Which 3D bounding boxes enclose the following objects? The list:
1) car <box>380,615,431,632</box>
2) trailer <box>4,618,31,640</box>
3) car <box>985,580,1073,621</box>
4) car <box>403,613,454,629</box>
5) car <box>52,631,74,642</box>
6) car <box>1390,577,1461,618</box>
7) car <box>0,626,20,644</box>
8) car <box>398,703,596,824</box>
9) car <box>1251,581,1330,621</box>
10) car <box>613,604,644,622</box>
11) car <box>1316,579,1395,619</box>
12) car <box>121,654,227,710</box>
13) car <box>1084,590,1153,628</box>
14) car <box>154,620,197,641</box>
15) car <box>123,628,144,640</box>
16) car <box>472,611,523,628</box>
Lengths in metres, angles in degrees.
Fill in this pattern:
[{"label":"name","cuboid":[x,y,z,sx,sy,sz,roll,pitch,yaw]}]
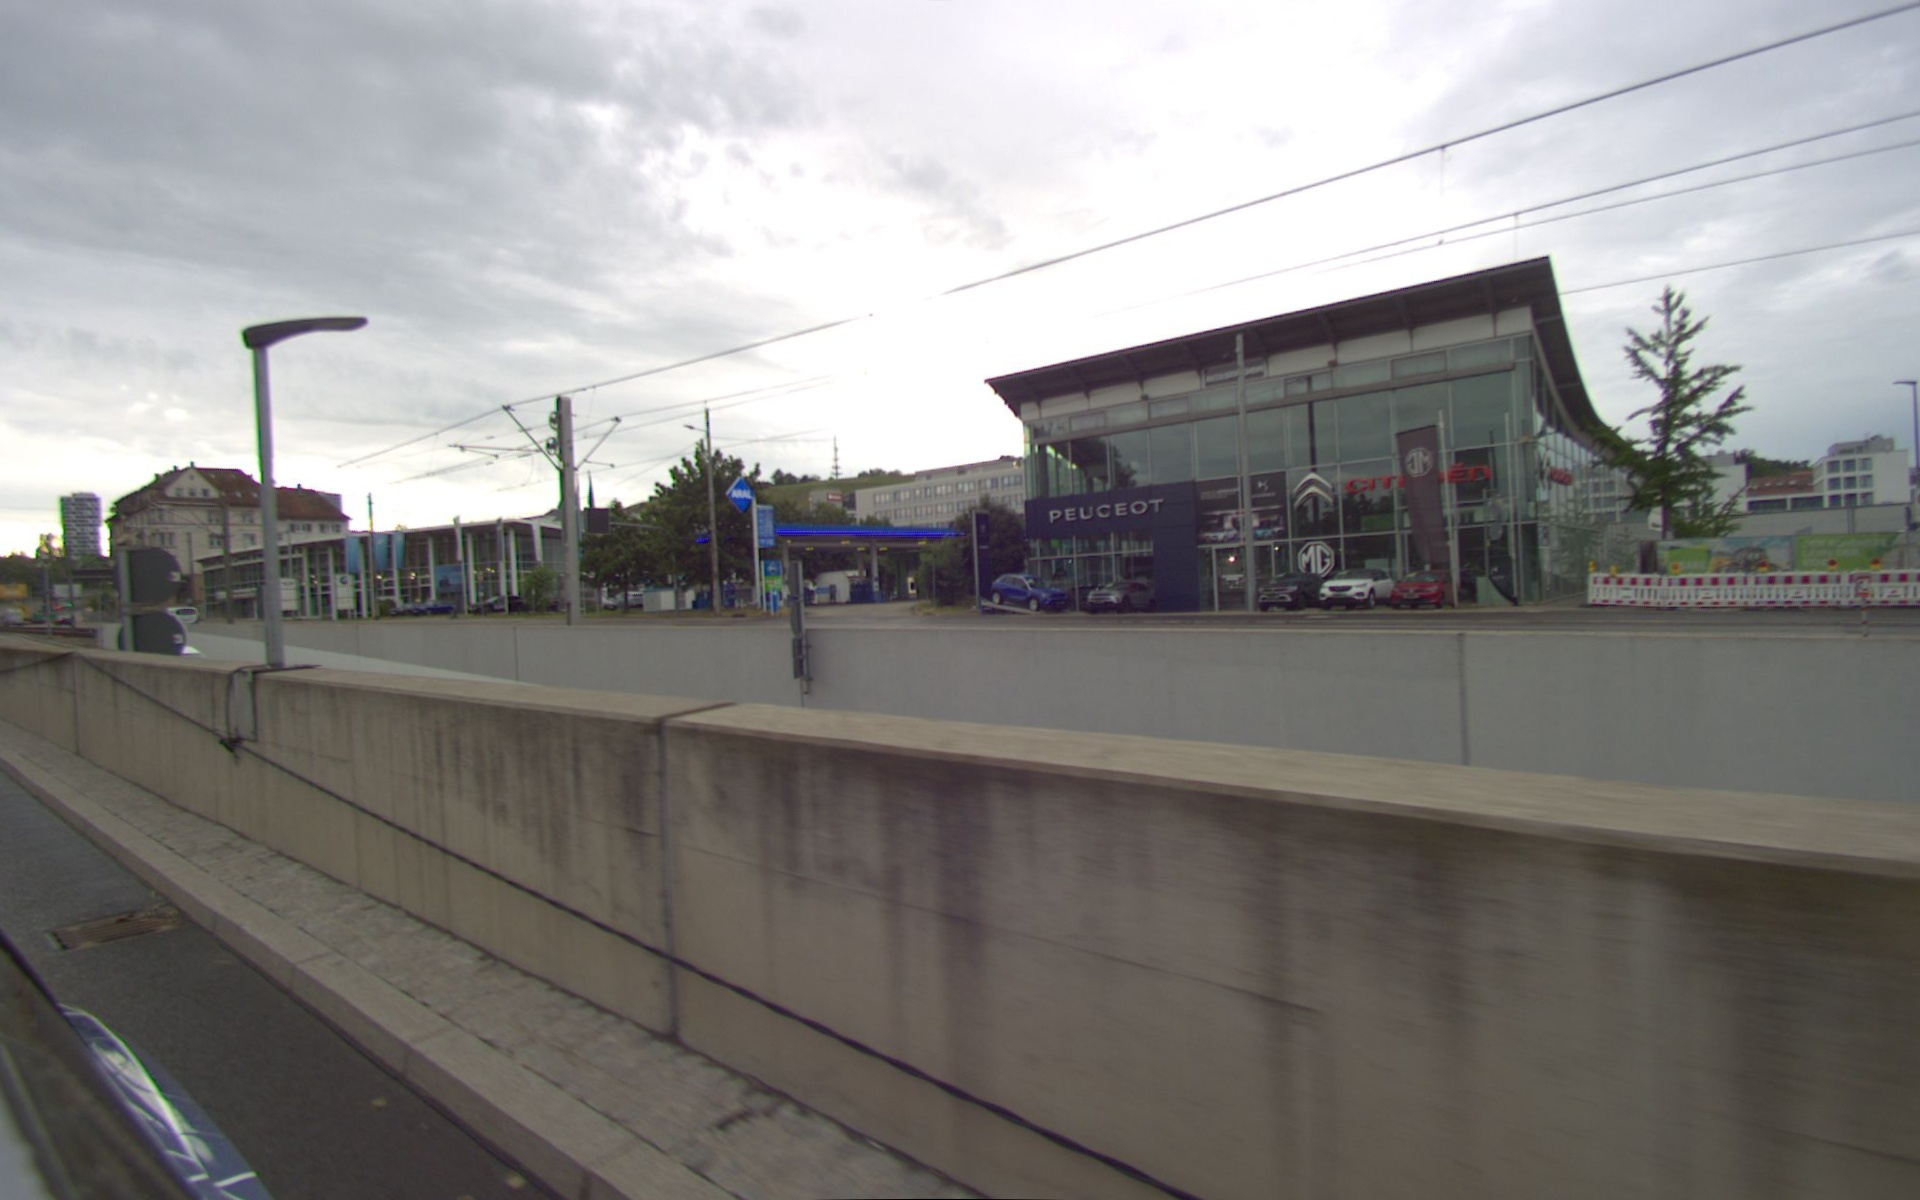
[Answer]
[{"label":"car","cuboid":[-50.745,2.165,92.658,1.690,1.244,3.974,-4,0,20]},{"label":"trailer","cuboid":[-180.581,5.575,193.866,9.077,4.082,2.656,-2,0,41]},{"label":"car","cuboid":[3.188,-0.022,47.502,1.740,1.621,4.073,-3,5,-42]},{"label":"car","cuboid":[-48.332,1.885,92.050,1.747,1.244,3.974,-1,1,20]},{"label":"car","cuboid":[-127.584,5.180,143.964,4.337,1.527,1.723,-2,0,41]},{"label":"car","cuboid":[17.065,-0.083,37.066,1.616,1.392,3.447,-2,-1,38]},{"label":"car","cuboid":[-148.438,5.481,157.797,6.161,2.618,2.030,-2,1,41]},{"label":"car","cuboid":[-8.190,2.750,17.762,3.894,1.585,1.686,-2,0,41]},{"label":"car","cuboid":[13.041,0.039,39.854,1.749,1.485,3.444,-2,-1,41]},{"label":"car","cuboid":[-30.680,1.208,93.581,2.798,1.584,1.368,-2,1,39]},{"label":"car","cuboid":[15.008,-0.058,38.326,1.749,1.407,3.444,-2,0,41]},{"label":"car","cuboid":[-25.820,2.630,33.196,4.317,1.585,1.956,-2,0,41]},{"label":"car","cuboid":[7.053,0.416,44.802,1.572,1.413,3.469,-3,-6,37]},{"label":"car","cuboid":[-68.881,2.674,88.835,5.031,1.708,1.980,-2,0,40]},{"label":"car","cuboid":[-96.454,3.969,118.064,2.799,1.309,1.368,-2,1,40]},{"label":"car","cuboid":[-38.666,1.638,84.667,1.717,1.284,3.476,-2,1,45]}]
